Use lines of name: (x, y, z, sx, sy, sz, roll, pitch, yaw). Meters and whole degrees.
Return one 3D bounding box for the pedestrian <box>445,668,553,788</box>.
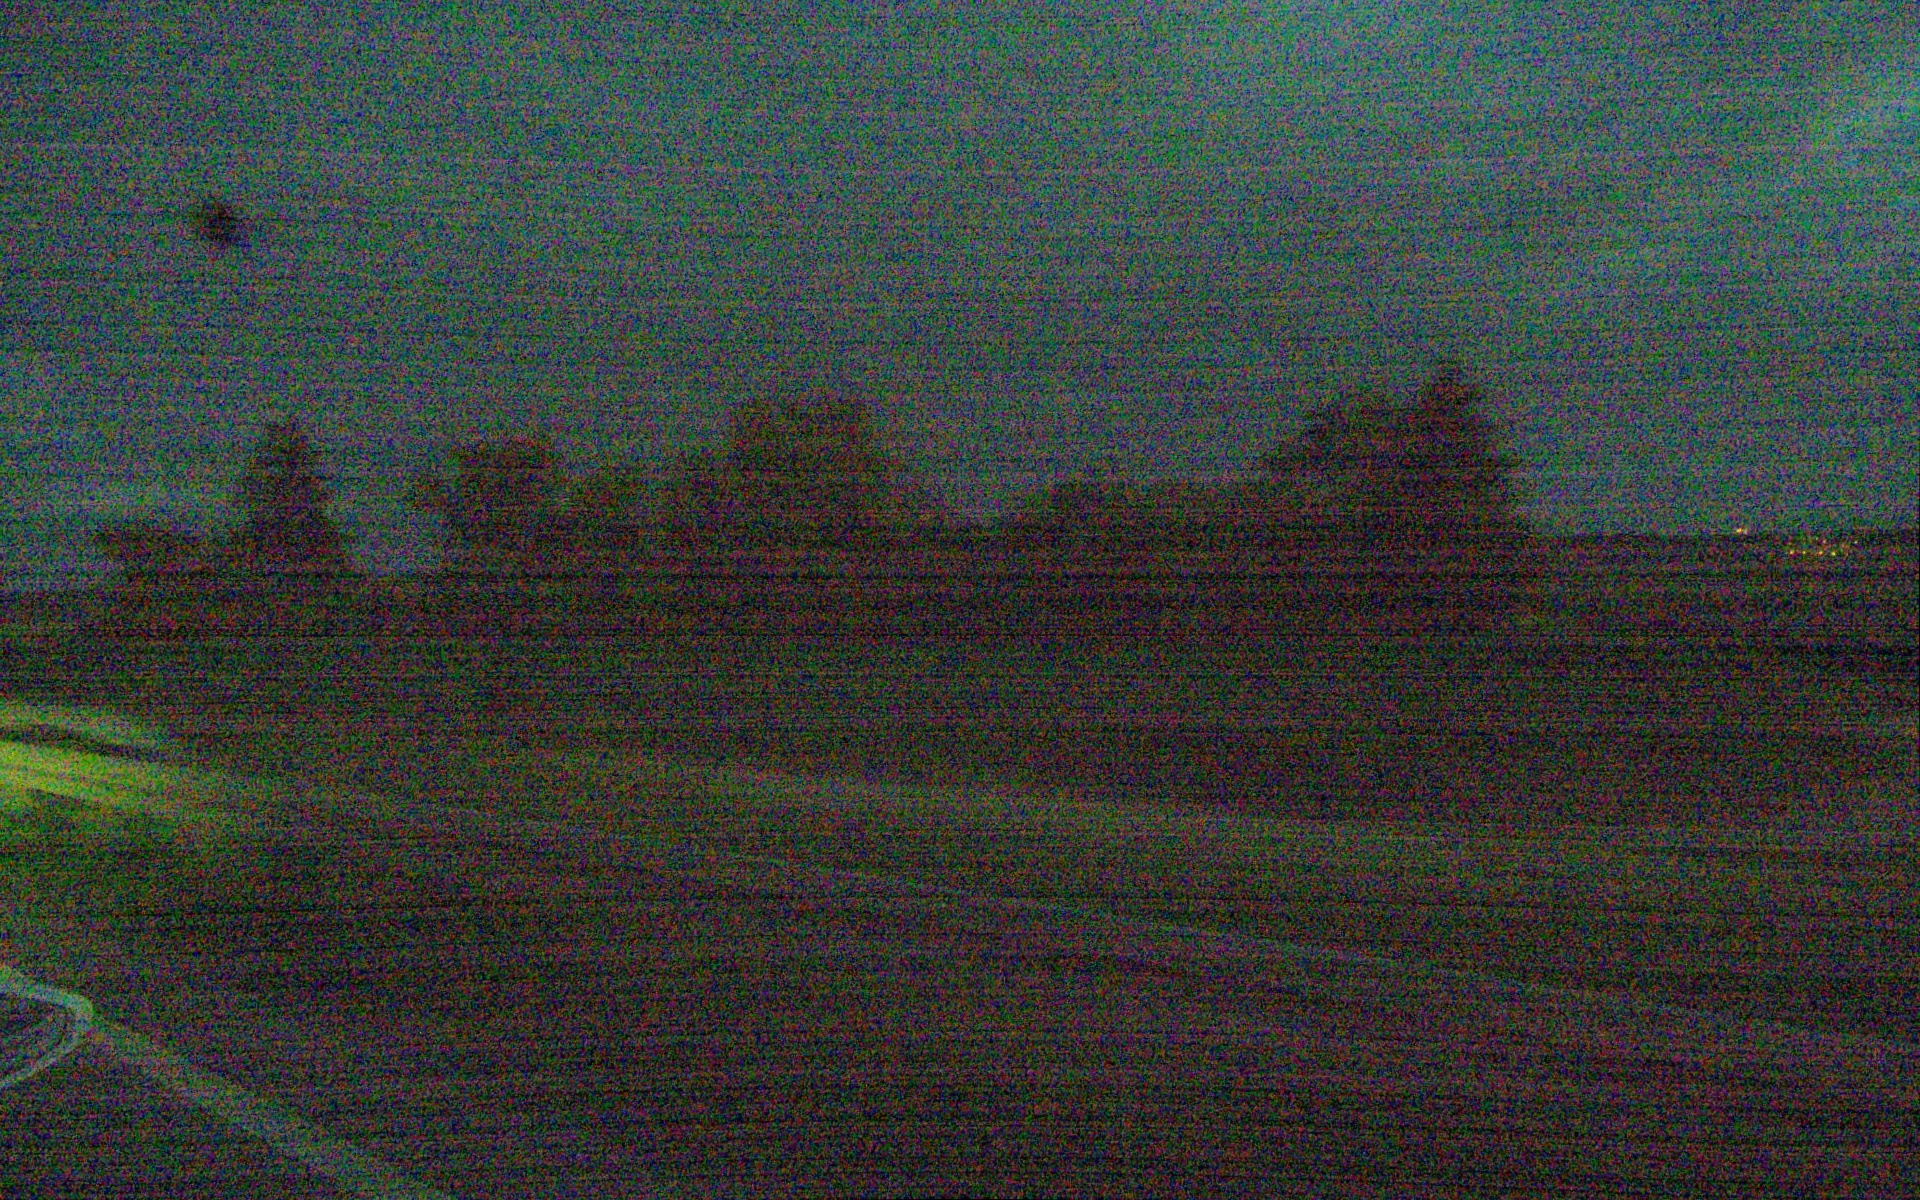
pedestrian: (-6.934, 1.883, 15.085, 1.102, 1.664, 1.060, -1, -1, 32)
